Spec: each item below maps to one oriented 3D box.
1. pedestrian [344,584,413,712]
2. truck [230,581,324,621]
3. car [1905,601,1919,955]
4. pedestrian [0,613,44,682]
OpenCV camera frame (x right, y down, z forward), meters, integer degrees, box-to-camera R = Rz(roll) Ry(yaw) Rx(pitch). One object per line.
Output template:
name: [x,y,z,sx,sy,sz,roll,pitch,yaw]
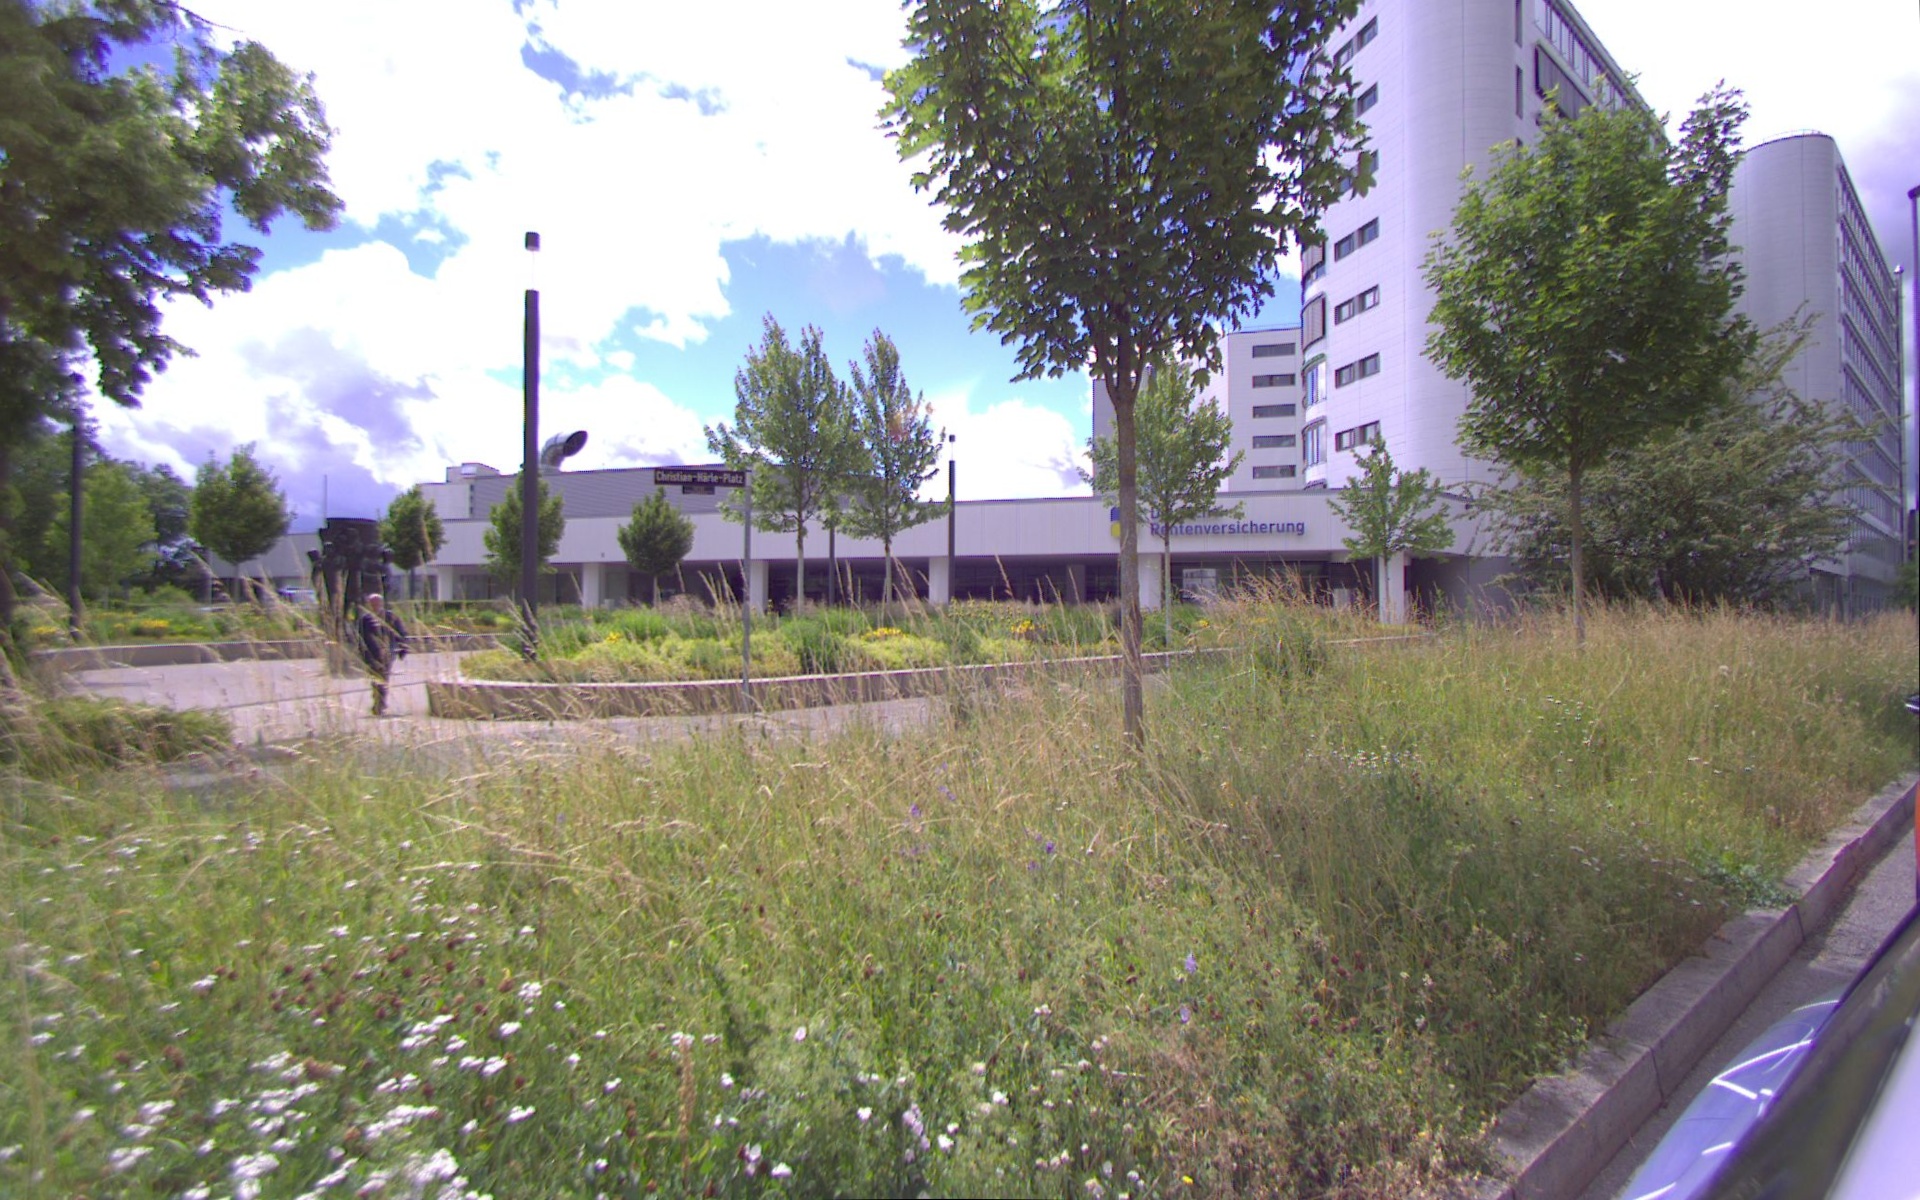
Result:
pedestrian: [-7.770,0.613,13.550,0.756,1.646,0.765,1,-1,-29]
truck: [-36.148,0.057,53.580,3.941,2.039,1.991,1,0,14]
car: [5.808,0.754,4.648,3.611,1.434,1.748,0,1,-41]
pedestrian: [-17.402,0.860,18.701,0.621,1.238,0.620,1,0,-36]
